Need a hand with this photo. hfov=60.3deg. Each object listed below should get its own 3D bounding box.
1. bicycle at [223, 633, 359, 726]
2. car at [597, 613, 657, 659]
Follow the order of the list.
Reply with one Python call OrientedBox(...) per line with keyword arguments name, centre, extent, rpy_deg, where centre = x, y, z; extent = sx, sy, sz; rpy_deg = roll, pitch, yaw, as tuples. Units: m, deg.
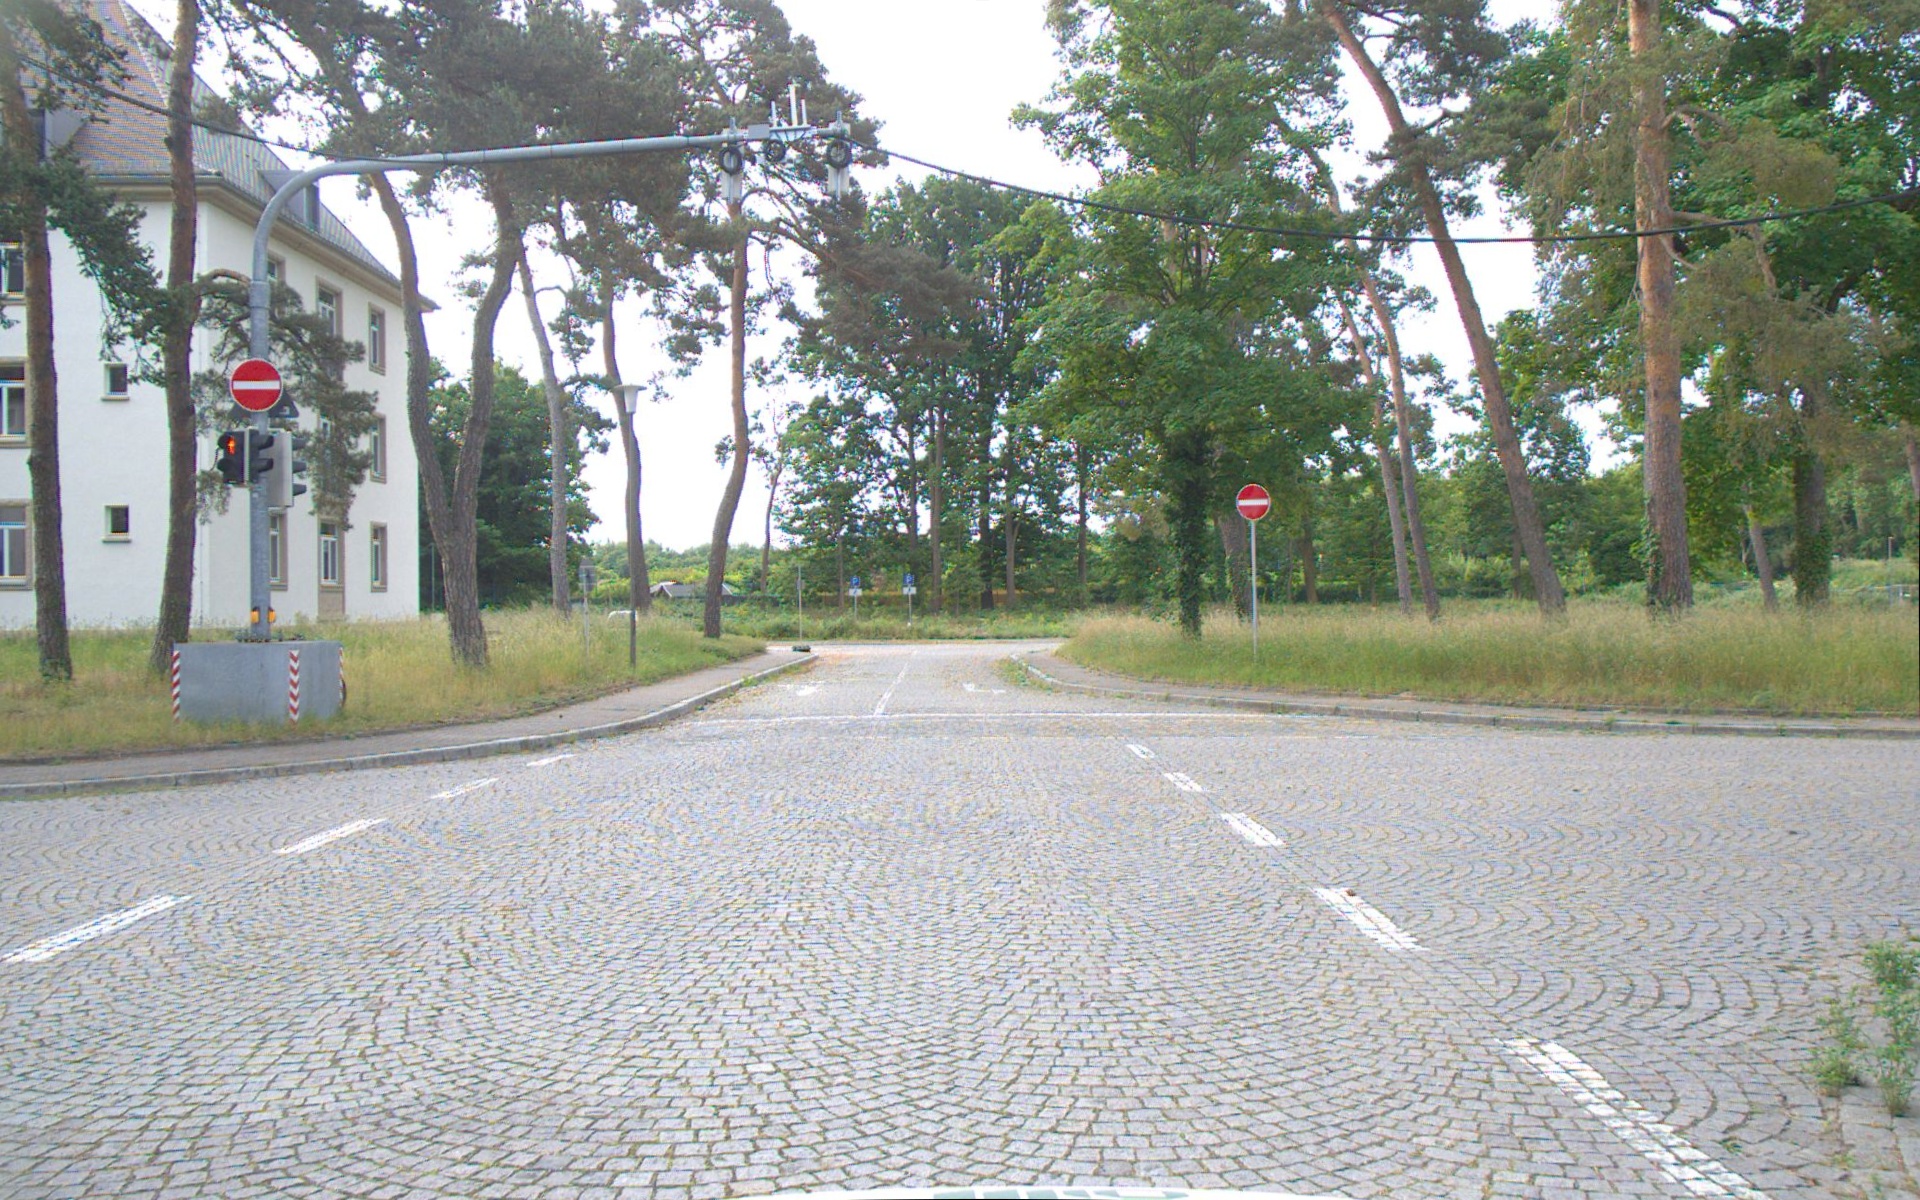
OrientedBox(name="bicycle", centre=(-8.227, 0.969, 20.364), extent=(1.435, 1.084, 0.516), rpy_deg=(-1, 1, -3))
OrientedBox(name="car", centre=(-14.126, 1.490, 70.344), extent=(1.954, 1.878, 3.997), rpy_deg=(1, 0, -3))
